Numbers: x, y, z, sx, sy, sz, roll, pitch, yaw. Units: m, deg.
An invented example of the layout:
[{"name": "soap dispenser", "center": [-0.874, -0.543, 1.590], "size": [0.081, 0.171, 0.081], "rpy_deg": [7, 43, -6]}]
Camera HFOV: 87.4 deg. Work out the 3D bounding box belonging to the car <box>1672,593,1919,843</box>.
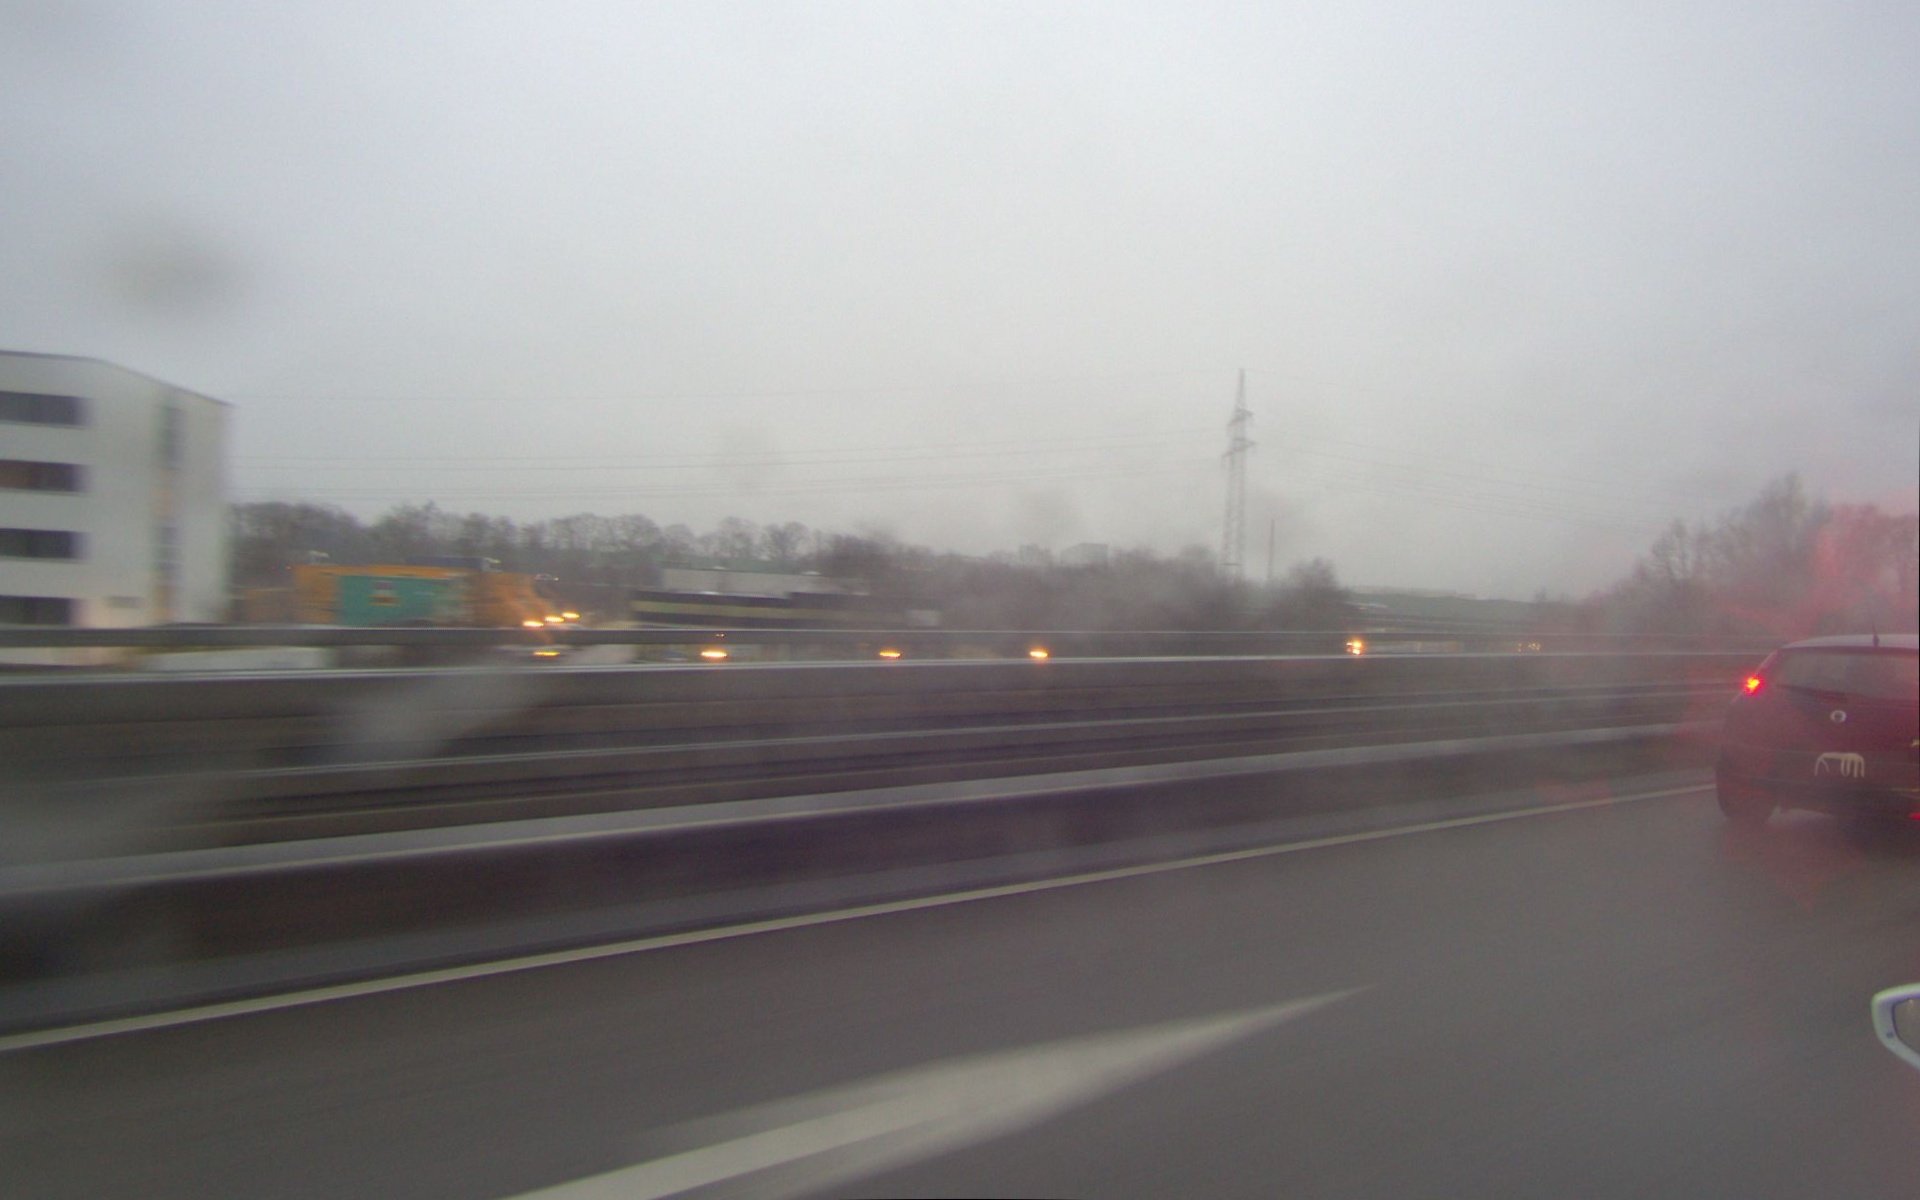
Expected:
[{"name": "car", "center": [7.463, 0.859, 7.694], "size": [3.994, 1.552, 1.722], "rpy_deg": [4, -2, -29]}]
